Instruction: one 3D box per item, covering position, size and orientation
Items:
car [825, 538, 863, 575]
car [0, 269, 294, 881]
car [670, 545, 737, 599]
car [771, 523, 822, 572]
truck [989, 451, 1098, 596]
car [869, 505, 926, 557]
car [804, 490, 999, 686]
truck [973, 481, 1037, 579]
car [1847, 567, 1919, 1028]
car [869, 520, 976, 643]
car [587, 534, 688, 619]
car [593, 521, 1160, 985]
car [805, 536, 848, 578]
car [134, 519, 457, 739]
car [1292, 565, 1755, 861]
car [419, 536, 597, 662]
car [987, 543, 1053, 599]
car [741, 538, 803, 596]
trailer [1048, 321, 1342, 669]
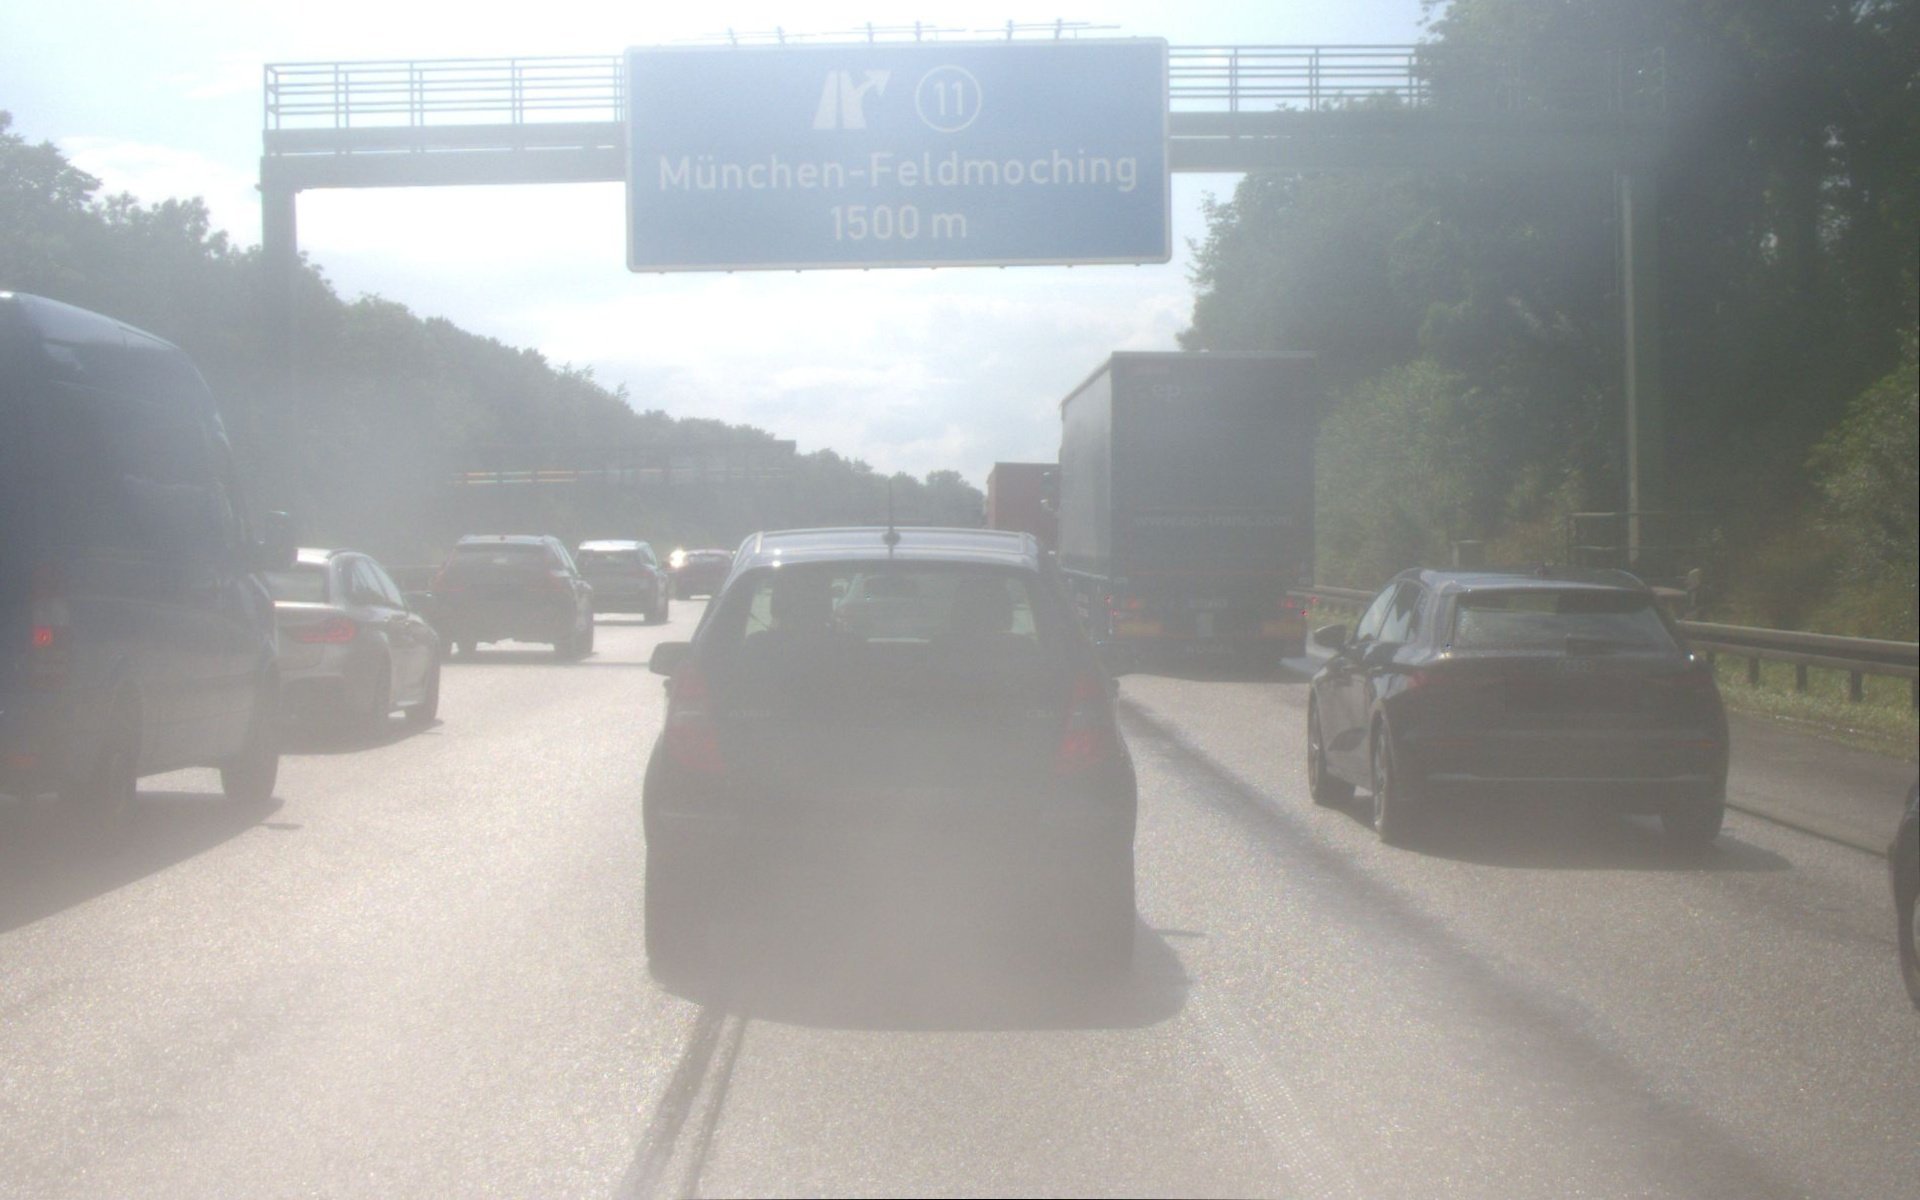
[{"bbox_3d":[-6.382,-2.388,189.906,1.993,2.007,4.000,1,1,-1],"label":"car"},{"bbox_3d":[-4.976,-0.159,17.714,2.015,2.639,5.777,1,1,-1],"label":"car"},{"bbox_3d":[-7.259,-0.810,97.633,1.675,1.485,3.437,1,1,-1],"label":"car"},{"bbox_3d":[-6.947,-2.213,146.259,1.993,2.007,4.000,1,1,-1],"label":"car"},{"bbox_3d":[2.590,-2.395,109.538,3.202,4.389,9.432,1,1,0],"label":"truck"},{"bbox_3d":[-1.833,-2.026,101.625,1.631,1.485,3.437,1,1,-1],"label":"car"},{"bbox_3d":[-0.641,-0.144,37.634,1.993,2.007,4.000,1,1,-1],"label":"car"},{"bbox_3d":[2.186,-3.446,171.704,2.882,4.671,12.659,1,1,0],"label":"truck"},{"bbox_3d":[3.895,0.646,9.808,1.650,1.451,3.745,0,1,-2],"label":"car"},{"bbox_3d":[-0.618,-0.317,56.245,1.675,1.929,3.773,1,1,-1],"label":"car"},{"bbox_3d":[-6.262,-0.471,67.083,1.675,1.591,3.437,1,1,-1],"label":"car"},{"bbox_3d":[-0.309,0.487,13.836,1.915,1.560,4.314,1,1,-1],"label":"car"},{"bbox_3d":[-6.569,-2.121,169.065,1.993,2.007,4.000,1,1,-1],"label":"car"},{"bbox_3d":[-5.161,0.177,27.225,1.758,1.589,4.331,1,1,-1],"label":"car"},{"bbox_3d":[2.930,0.522,18.777,1.755,1.391,4.368,1,1,-1],"label":"car"},{"bbox_3d":[-6.054,-0.045,46.494,1.893,1.622,4.195,1,1,-1],"label":"car"},{"bbox_3d":[1.616,-0.800,93.244,1.675,1.485,3.437,1,1,-1],"label":"car"},{"bbox_3d":[-6.649,-1.180,121.798,1.993,2.007,4.000,1,1,-1],"label":"car"},{"bbox_3d":[3.099,-1.410,49.739,3.088,4.298,14.106,1,1,-1],"label":"trailer"}]
